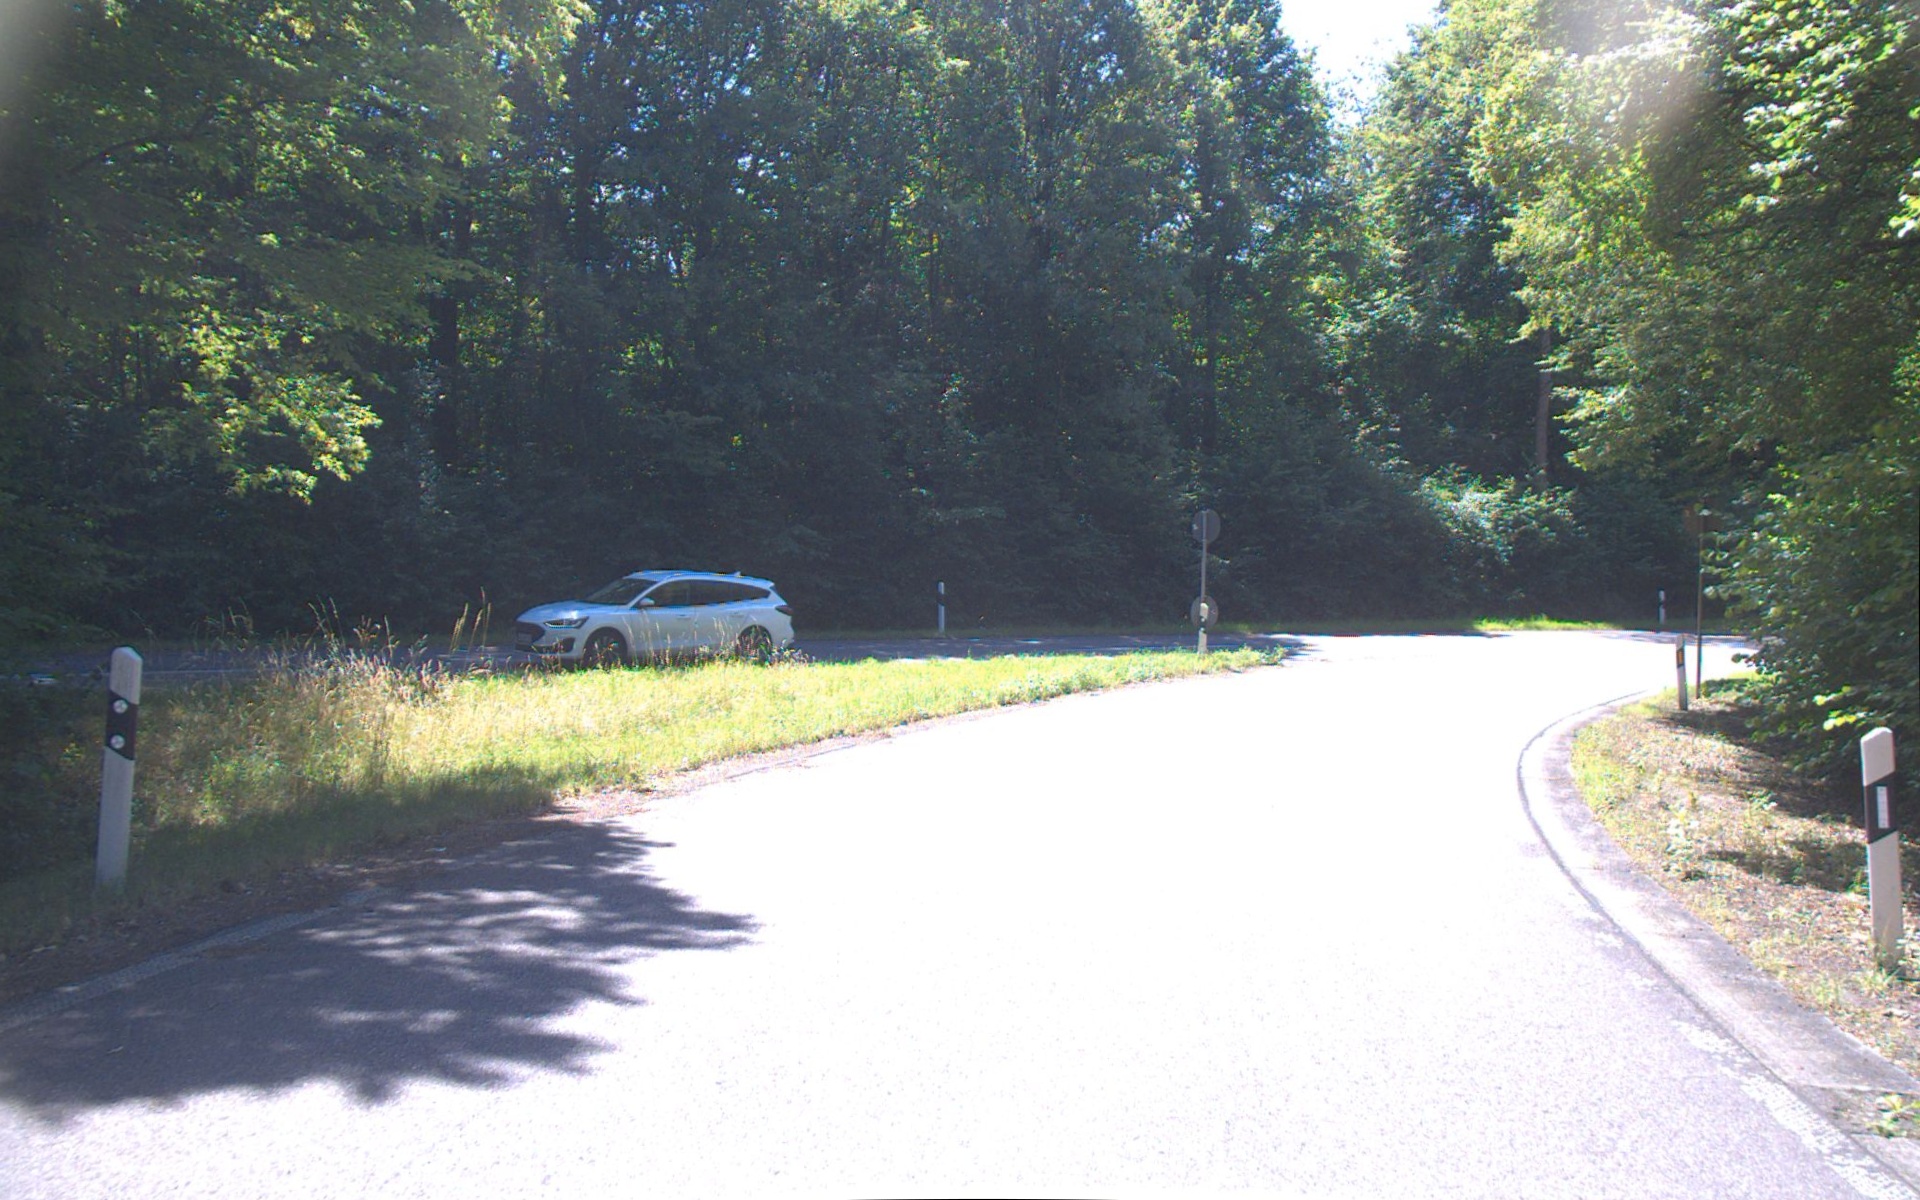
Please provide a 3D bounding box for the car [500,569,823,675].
[{"bbox_3d":[-4.661,0.291,26.268,4.823,1.477,1.737,-1,3,-39],"label":"car"}]
